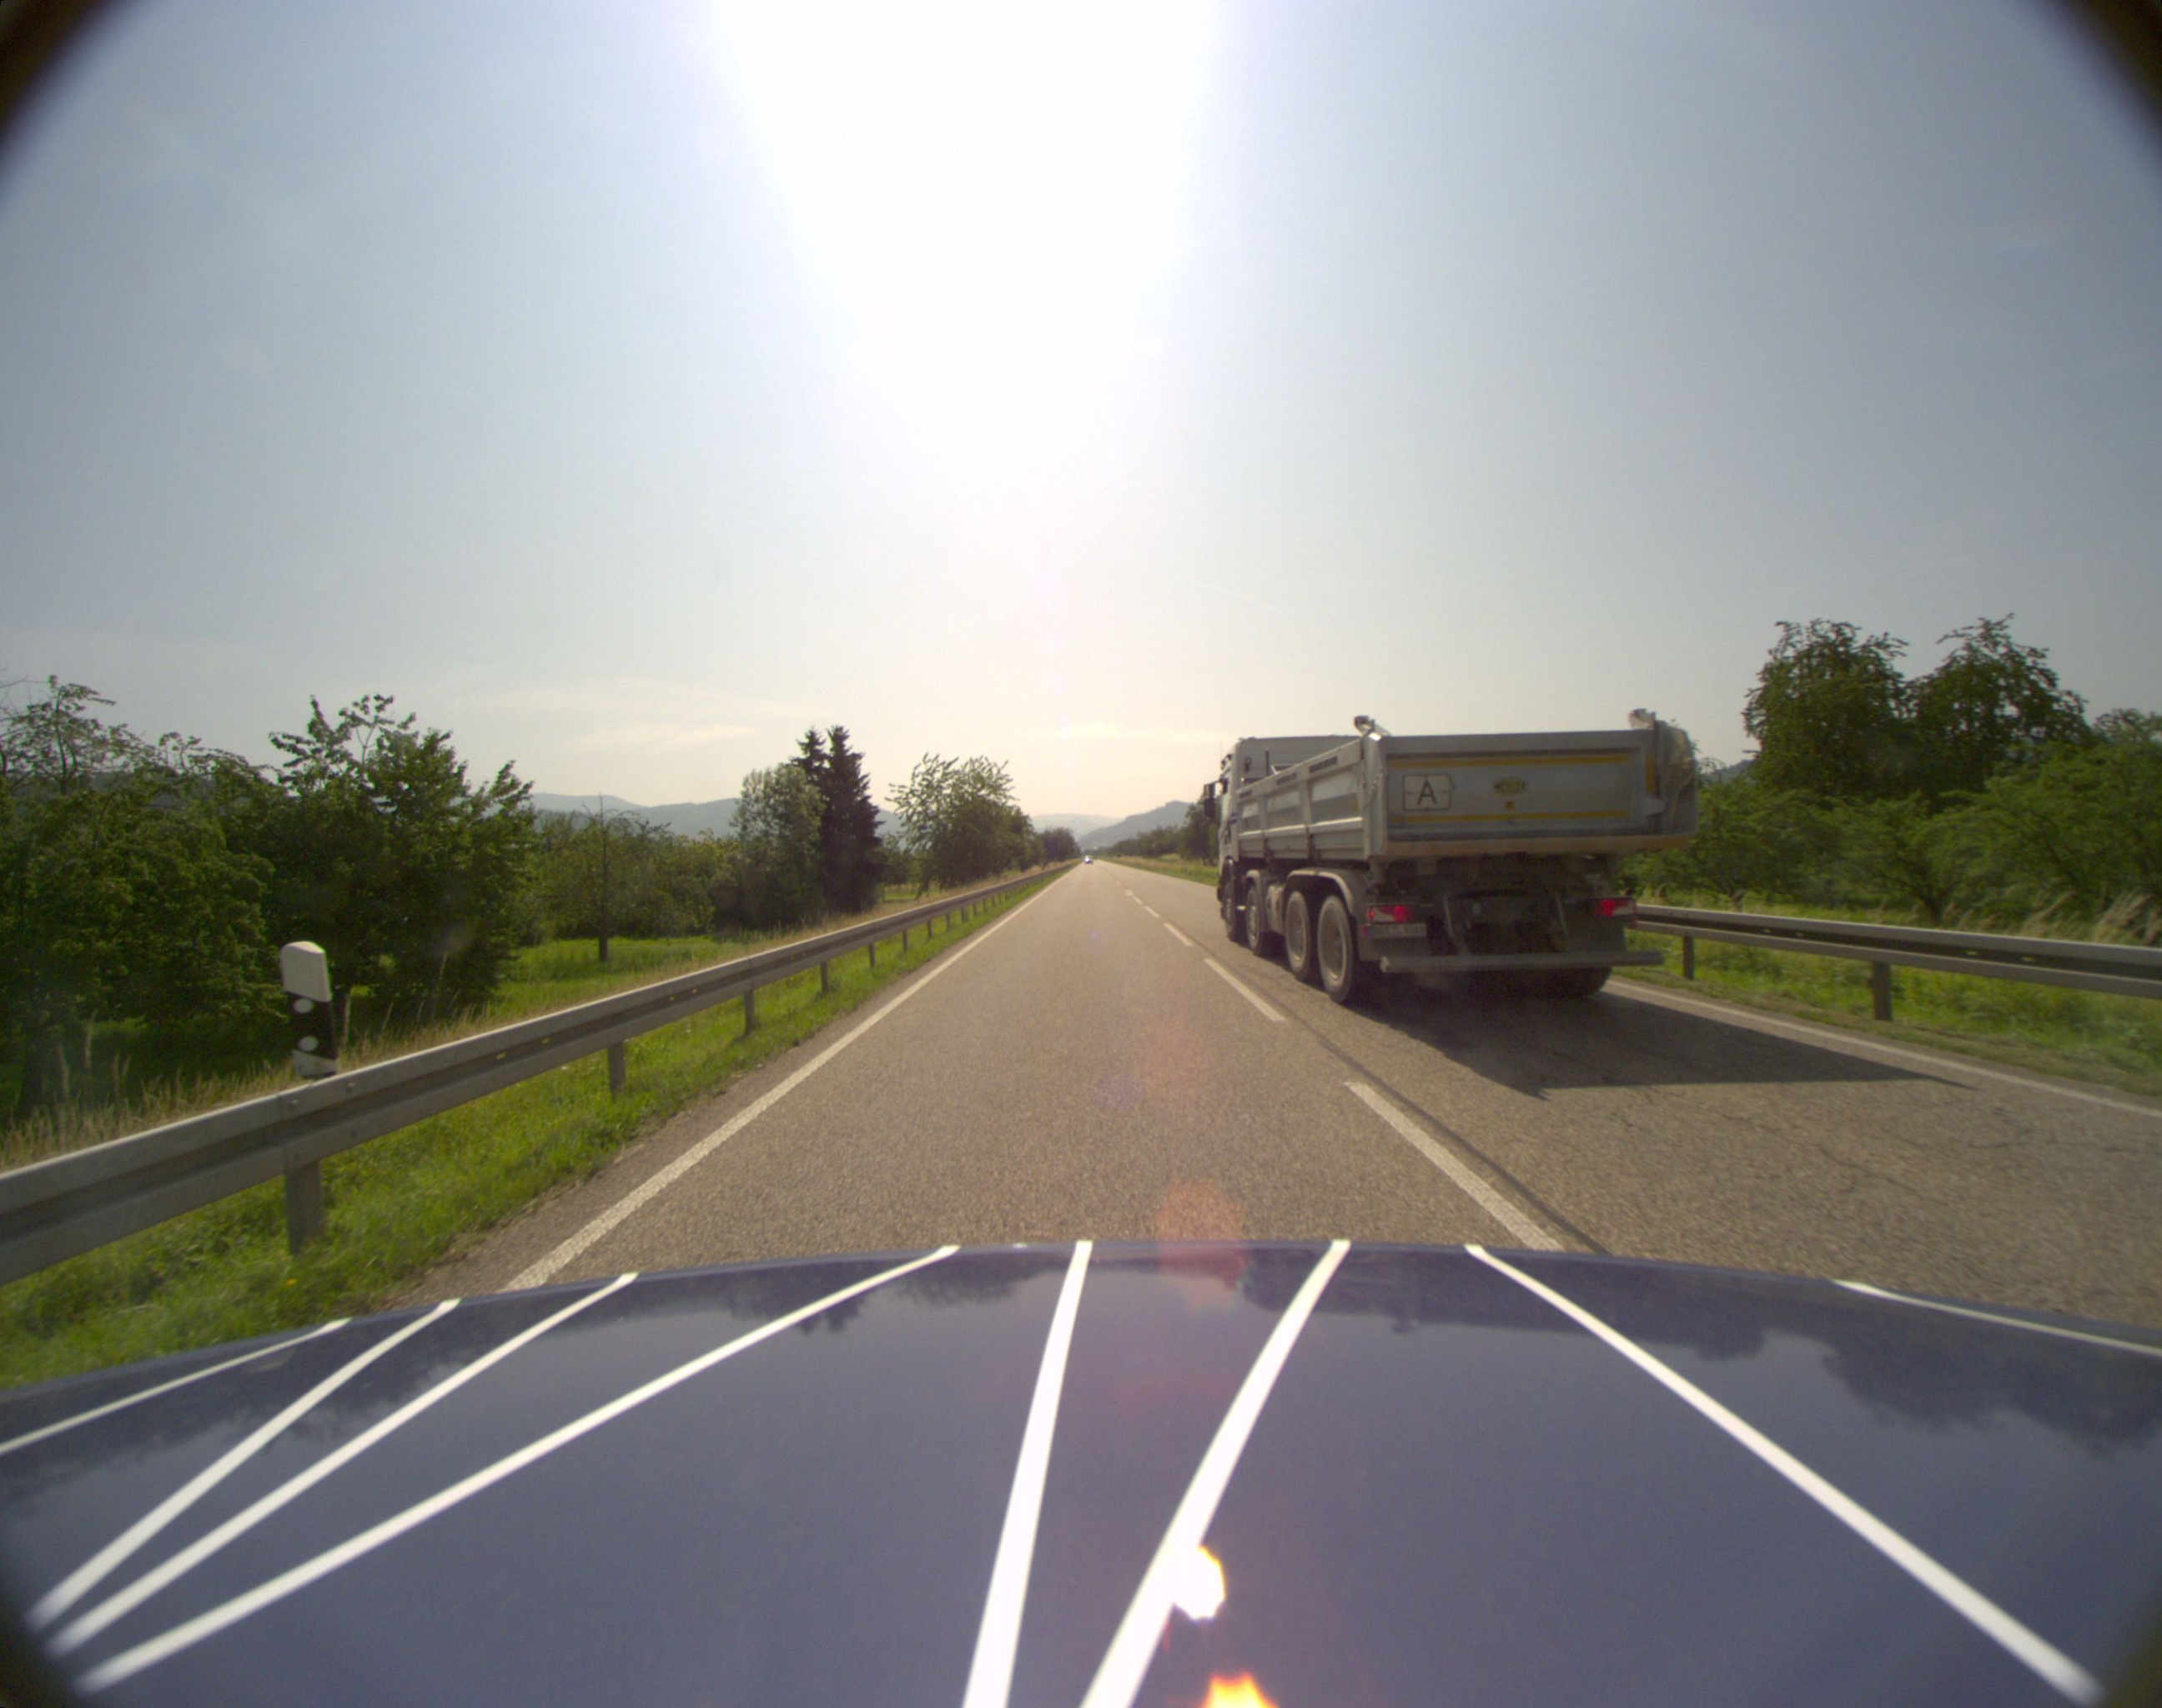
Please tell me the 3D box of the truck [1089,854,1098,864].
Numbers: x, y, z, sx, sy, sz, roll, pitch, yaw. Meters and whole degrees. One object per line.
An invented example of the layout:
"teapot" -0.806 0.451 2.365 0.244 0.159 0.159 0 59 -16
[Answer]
"truck" 2.969 1.126 181.022 2.031 2.232 4.765 -2 1 2

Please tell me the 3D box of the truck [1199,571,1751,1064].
"truck" 3.729 -0.302 10.454 2.735 3.650 9.382 -2 1 1
